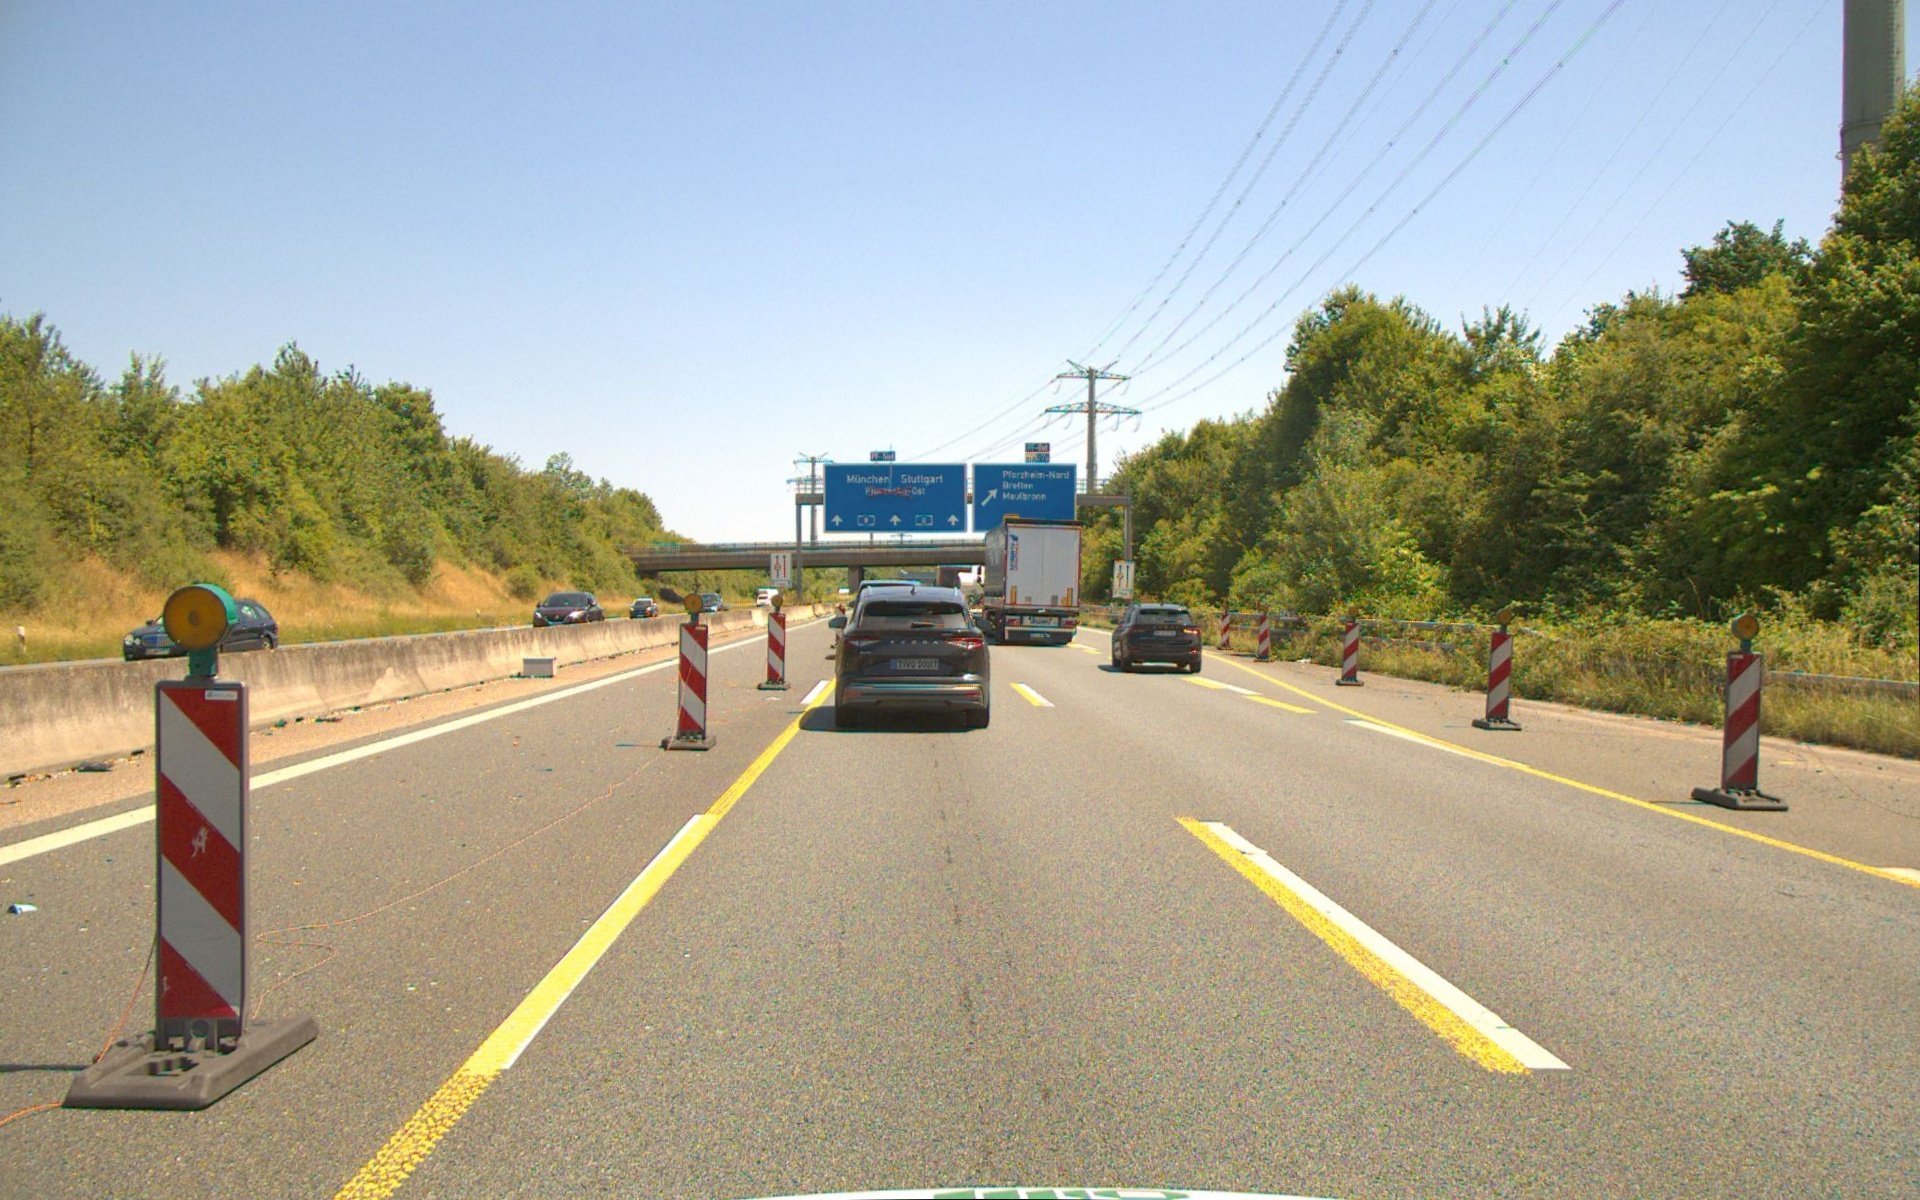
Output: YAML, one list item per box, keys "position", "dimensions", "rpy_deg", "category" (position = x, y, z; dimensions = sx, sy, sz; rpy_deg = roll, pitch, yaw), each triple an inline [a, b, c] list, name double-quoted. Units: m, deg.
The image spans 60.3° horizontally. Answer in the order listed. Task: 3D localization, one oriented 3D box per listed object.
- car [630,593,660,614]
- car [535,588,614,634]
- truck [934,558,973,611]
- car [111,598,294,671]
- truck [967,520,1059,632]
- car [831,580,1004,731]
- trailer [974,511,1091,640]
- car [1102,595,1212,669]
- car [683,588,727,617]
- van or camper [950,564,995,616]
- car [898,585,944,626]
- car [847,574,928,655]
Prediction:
- position: [-22.630, 0.268, 118.857]
  dimensions: [1.542, 1.490, 3.777]
  rpy_deg: [0, 0, -2]
  category: "car"
- position: [-13.098, 0.353, 56.444]
  dimensions: [1.811, 1.486, 4.487]
  rpy_deg: [-1, 0, -2]
  category: "car"
- position: [-0.579, -1.261, 139.171]
  dimensions: [3.015, 4.219, 13.052]
  rpy_deg: [2, 0, -1]
  category: "truck"
- position: [-16.675, 0.706, 36.700]
  dimensions: [1.953, 1.486, 4.586]
  rpy_deg: [-1, 0, 0]
  category: "car"
- position: [2.000, -0.907, 65.826]
  dimensions: [2.964, 4.158, 7.790]
  rpy_deg: [1, 0, -3]
  category: "truck"
- position: [-0.567, 0.589, 20.370]
  dimensions: [1.858, 1.619, 4.440]
  rpy_deg: [2, 0, -3]
  category: "car"
- position: [2.381, -0.813, 58.821]
  dimensions: [3.004, 4.113, 11.480]
  rpy_deg: [1, 0, -3]
  category: "trailer"
- position: [4.324, 0.671, 36.931]
  dimensions: [1.743, 1.515, 4.462]
  rpy_deg: [2, 0, -2]
  category: "car"
- position: [-14.664, 0.141, 95.241]
  dimensions: [1.953, 1.628, 4.581]
  rpy_deg: [0, 0, -2]
  category: "car"
- position: [0.735, -0.639, 102.427]
  dimensions: [2.534, 3.020, 6.083]
  rpy_deg: [2, 0, -1]
  category: "van or camper"
- position: [-1.728, 0.198, 72.494]
  dimensions: [1.858, 1.535, 4.441]
  rpy_deg: [3, 2, -3]
  category: "car"
- position: [-1.809, 0.373, 41.017]
  dimensions: [1.858, 1.874, 4.439]
  rpy_deg: [1, -1, -3]
  category: "car"
